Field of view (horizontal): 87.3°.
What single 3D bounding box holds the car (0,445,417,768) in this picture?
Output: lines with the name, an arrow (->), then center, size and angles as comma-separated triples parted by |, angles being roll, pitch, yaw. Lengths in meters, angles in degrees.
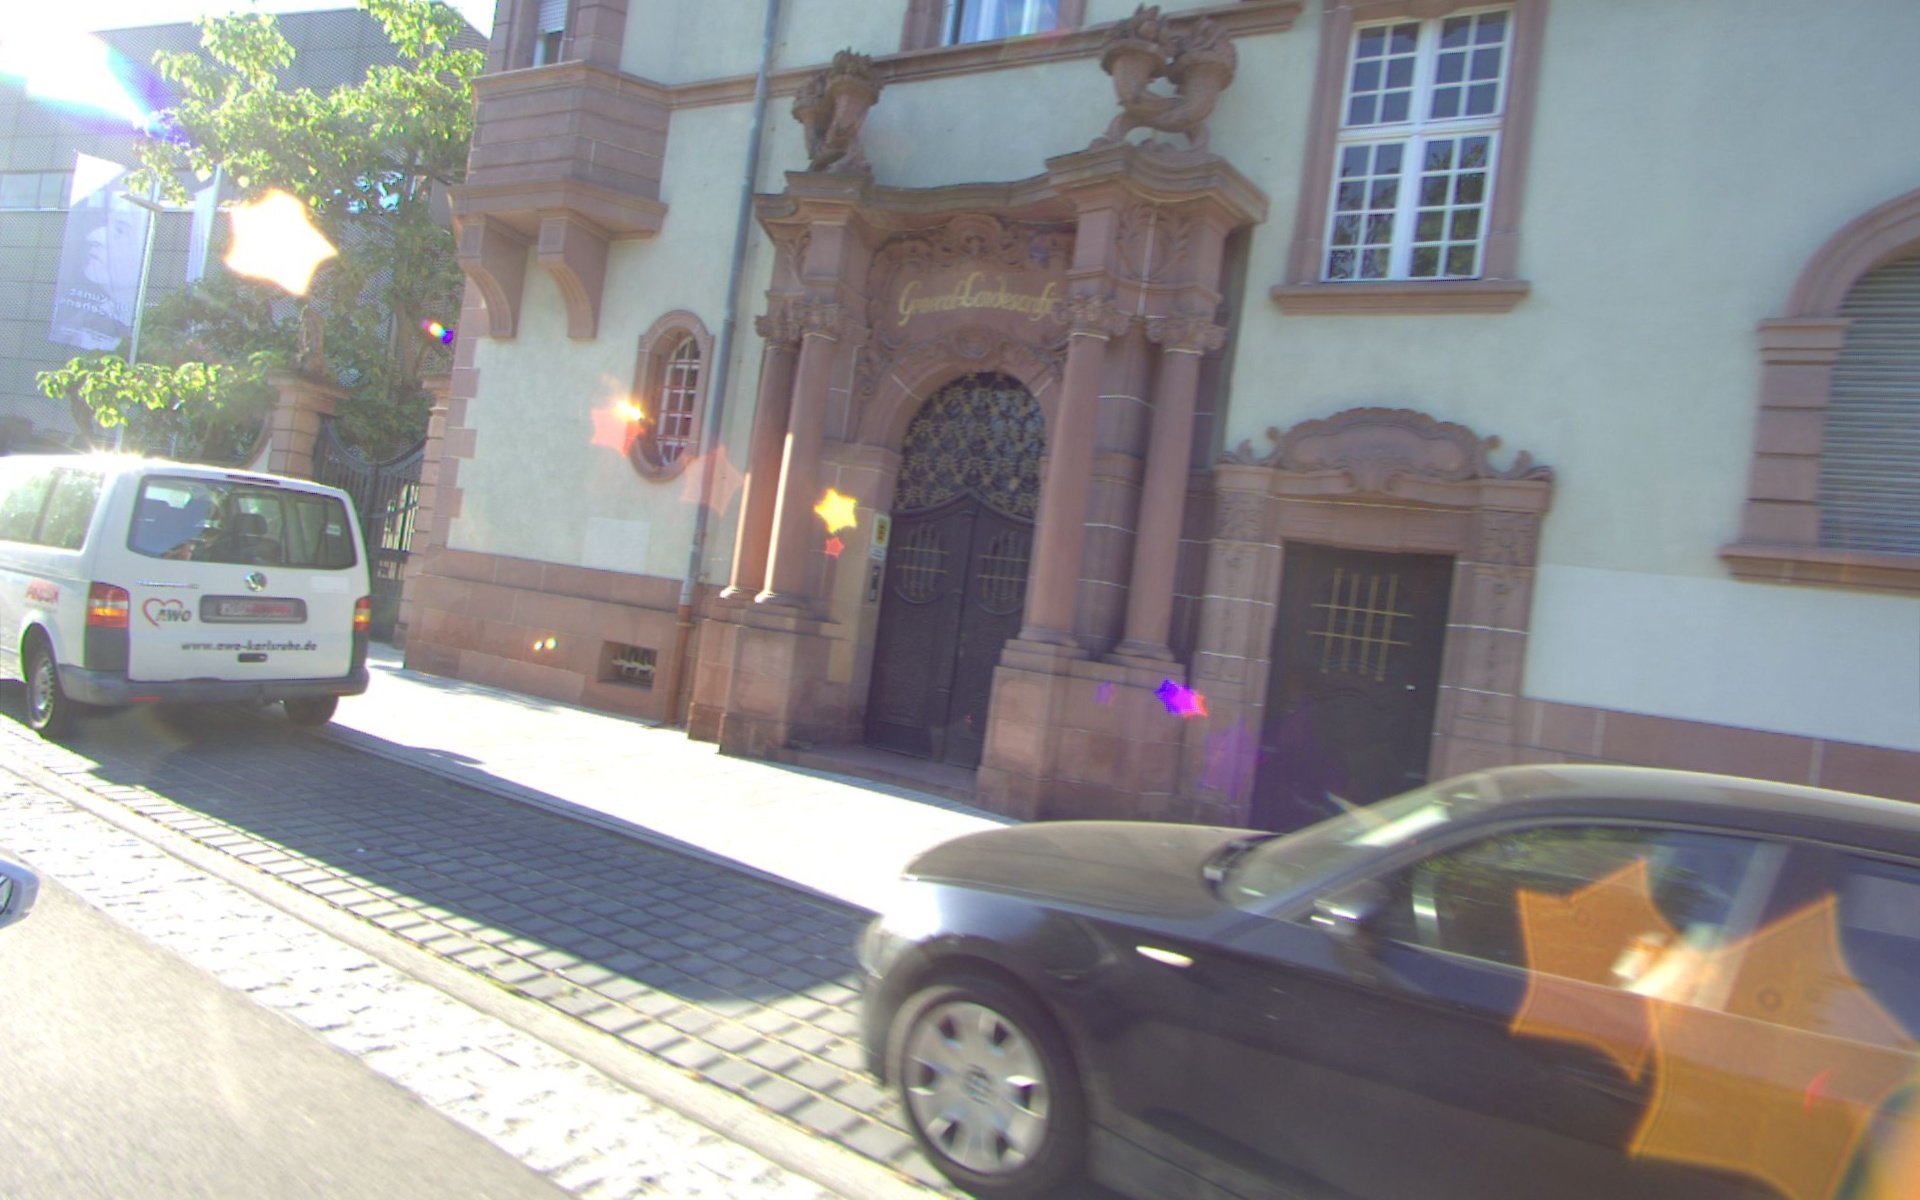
car -> -6.920, -0.133, 8.434 | 4.769, 1.991, 1.994 | 7, 2, 33

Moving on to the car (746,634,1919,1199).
car -> 1.578, 1.091, 2.808 | 4.130, 1.420, 1.681 | 7, 0, 32
